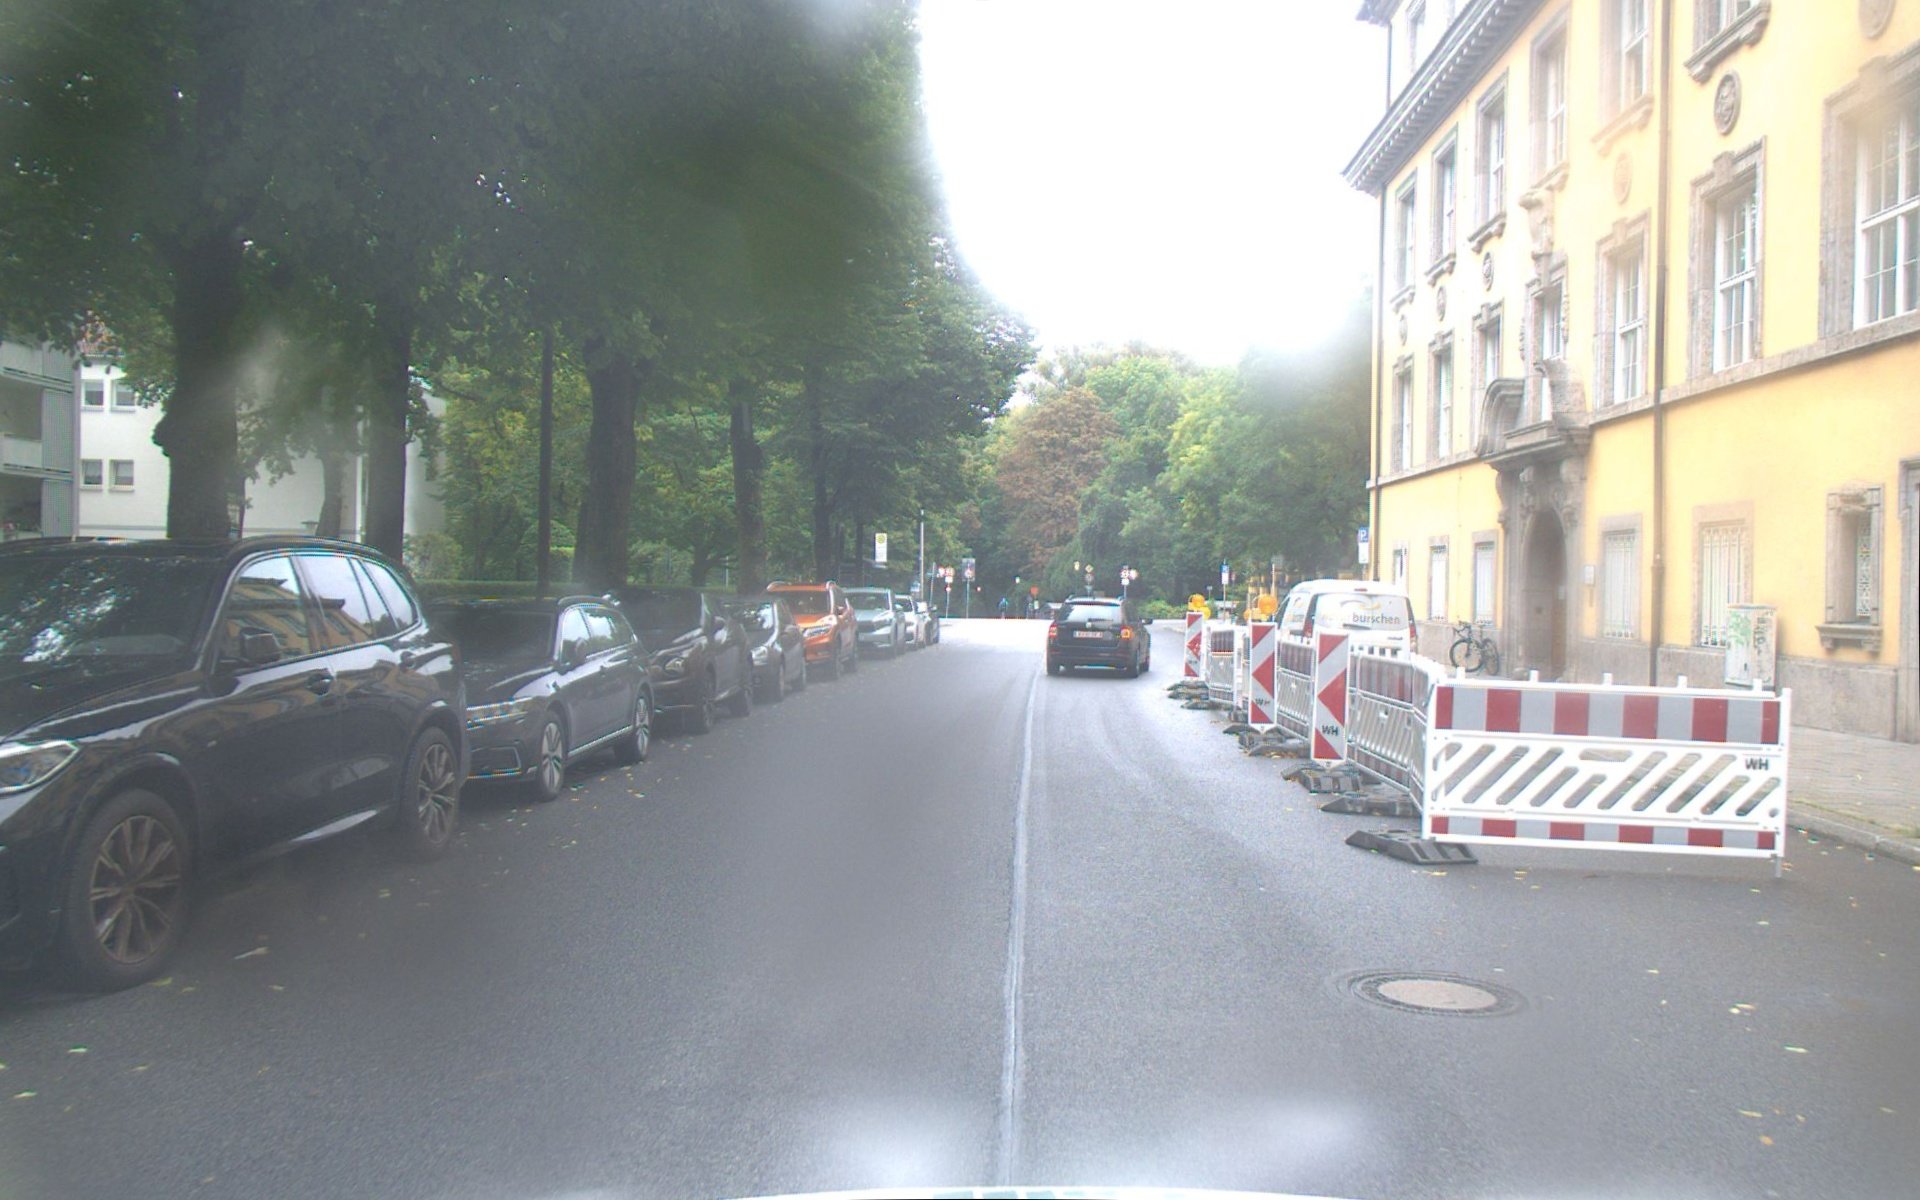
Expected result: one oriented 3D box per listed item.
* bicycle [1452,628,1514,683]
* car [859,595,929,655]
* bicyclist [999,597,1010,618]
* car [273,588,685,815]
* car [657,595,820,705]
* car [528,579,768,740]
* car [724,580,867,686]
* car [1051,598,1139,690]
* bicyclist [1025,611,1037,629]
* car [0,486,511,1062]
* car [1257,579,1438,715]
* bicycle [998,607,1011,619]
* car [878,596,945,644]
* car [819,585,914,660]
[{"bbox_3d":[10.440,1.093,33.082,0.666,1.024,2.058,1,0,3],"label":"bicycle"},{"bbox_3d":[-1.741,0.647,44.777,1.544,1.523,4.200,1,0,3],"label":"car"},{"bbox_3d":[3.263,0.521,121.560,0.667,1.530,0.900,1,0,-6],"label":"bicyclist"},{"bbox_3d":[-3.595,0.680,13.349,1.682,1.476,4.697,1,0,3],"label":"car"},{"bbox_3d":[-3.187,0.671,24.563,1.691,1.447,4.252,1,0,2],"label":"car"},{"bbox_3d":[-3.425,0.591,18.994,1.749,1.602,4.487,1,0,2],"label":"car"},{"bbox_3d":[-2.908,0.568,30.272,1.833,1.758,4.643,1,0,4],"label":"car"},{"bbox_3d":[2.619,0.790,31.652,1.544,1.611,4.047,1,0,6],"label":"car"},{"bbox_3d":[4.615,1.305,107.783,0.668,1.208,0.480,1,0,-7],"label":"bicyclist"},{"bbox_3d":[-3.873,0.565,7.702,1.952,1.828,4.922,0,0,3],"label":"car"},{"bbox_3d":[5.558,0.659,24.231,1.703,1.780,4.356,1,-1,1],"label":"car"},{"bbox_3d":[3.241,0.938,121.466,0.666,0.844,2.107,1,-1,-6],"label":"bicycle"},{"bbox_3d":[-1.425,0.580,50.076,1.544,1.366,4.046,1,0,5],"label":"car"},{"bbox_3d":[-2.157,0.510,39.151,1.777,1.629,4.515,1,0,2],"label":"car"}]
